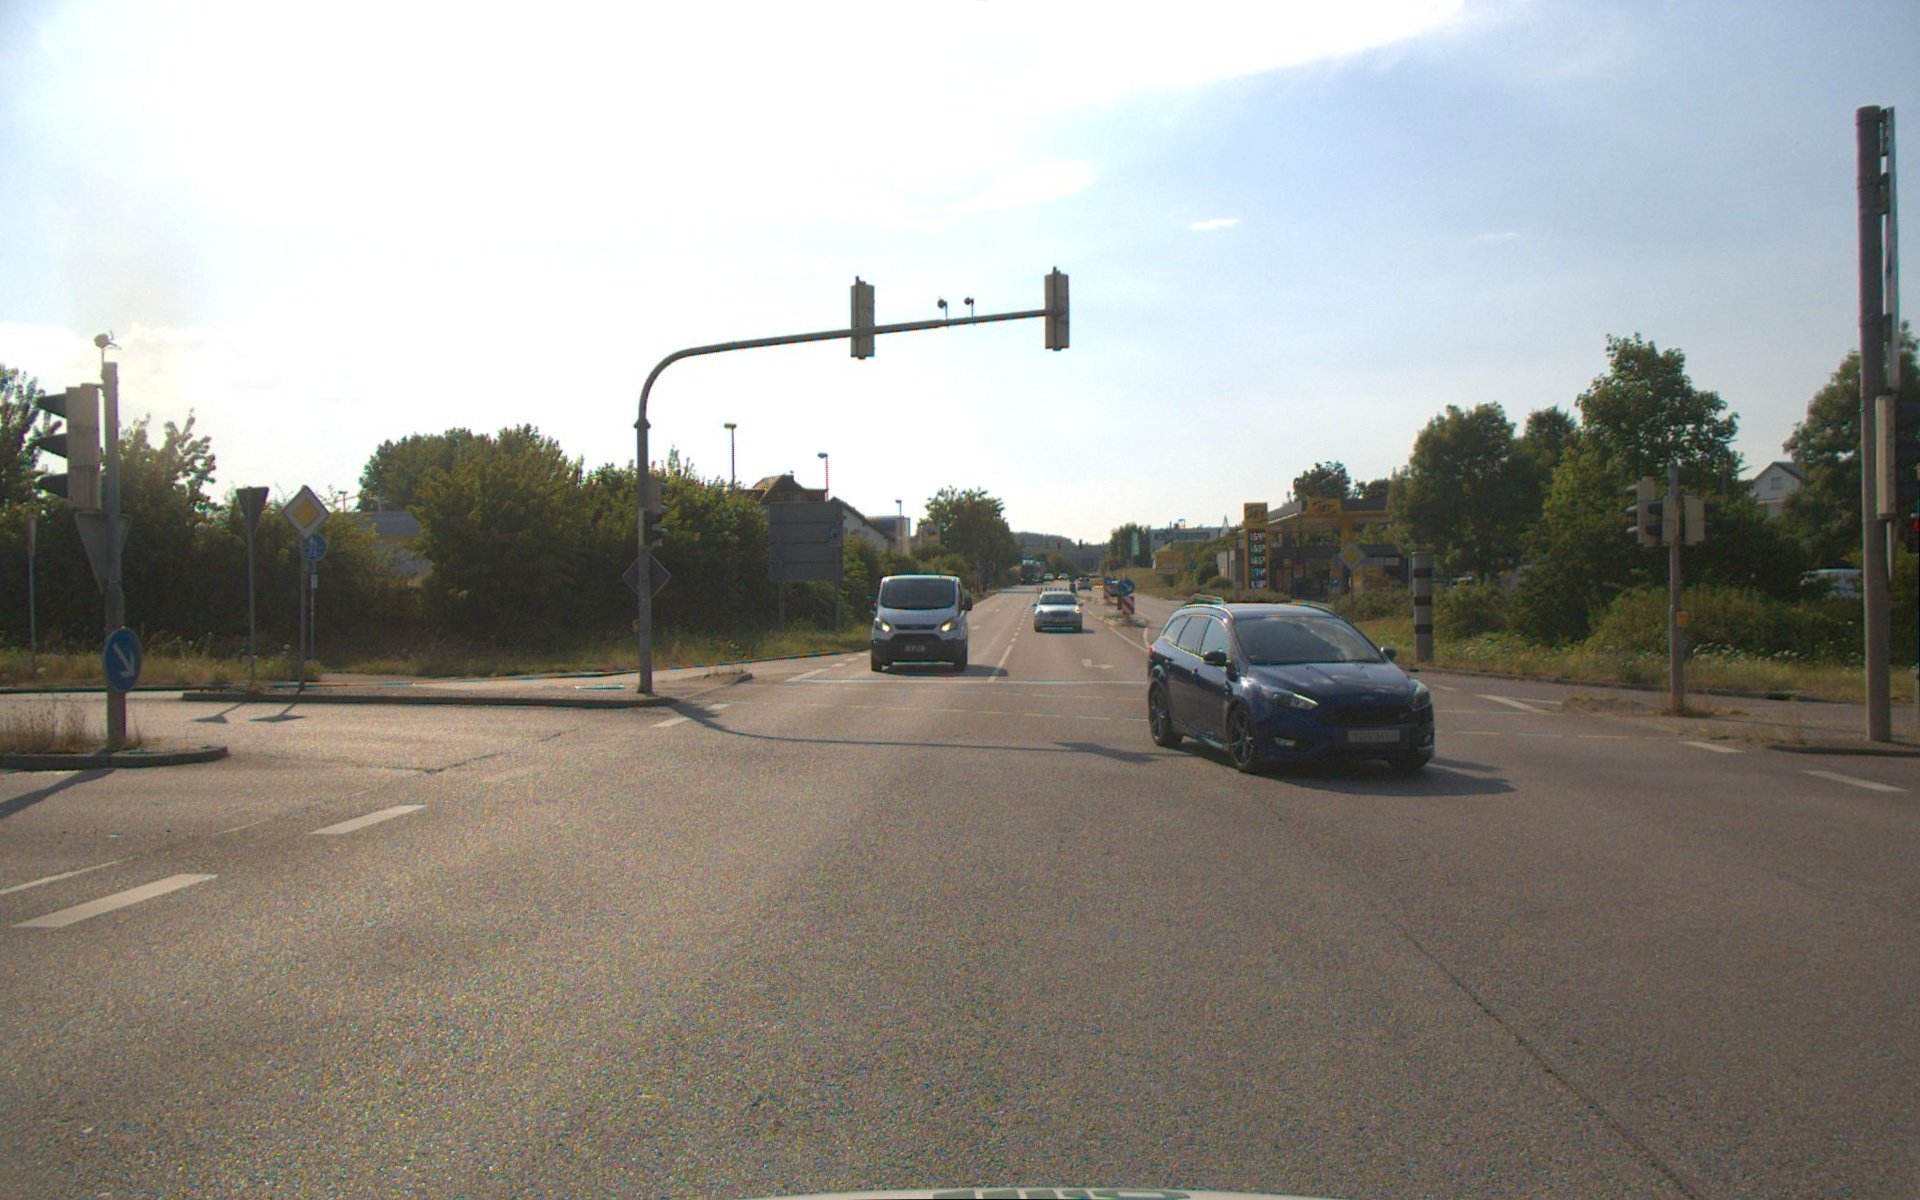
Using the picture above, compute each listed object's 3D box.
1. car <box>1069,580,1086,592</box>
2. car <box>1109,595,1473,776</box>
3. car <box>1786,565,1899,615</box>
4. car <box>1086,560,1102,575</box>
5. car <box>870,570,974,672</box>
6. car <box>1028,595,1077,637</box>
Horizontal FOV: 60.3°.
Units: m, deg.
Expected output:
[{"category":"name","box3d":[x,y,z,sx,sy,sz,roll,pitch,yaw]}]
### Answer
[{"category":"car","box3d":[13.857,-1.669,195.255,1.705,1.376,3.202,1,-1,-1]},{"category":"car","box3d":[3.050,0.741,16.234,1.759,1.524,4.283,1,-1,-16]},{"category":"car","box3d":[38.311,-0.414,71.761,4.581,2.049,1.953,1,-1,-24]},{"category":"car","box3d":[19.783,-4.791,244.059,1.953,2.049,3.999,1,-1,-1]},{"category":"car","box3d":[-0.737,0.385,35.502,1.861,1.981,4.820,1,1,3]},{"category":"car","box3d":[3.548,0.625,63.987,1.818,1.540,4.954,1,-1,2]}]
